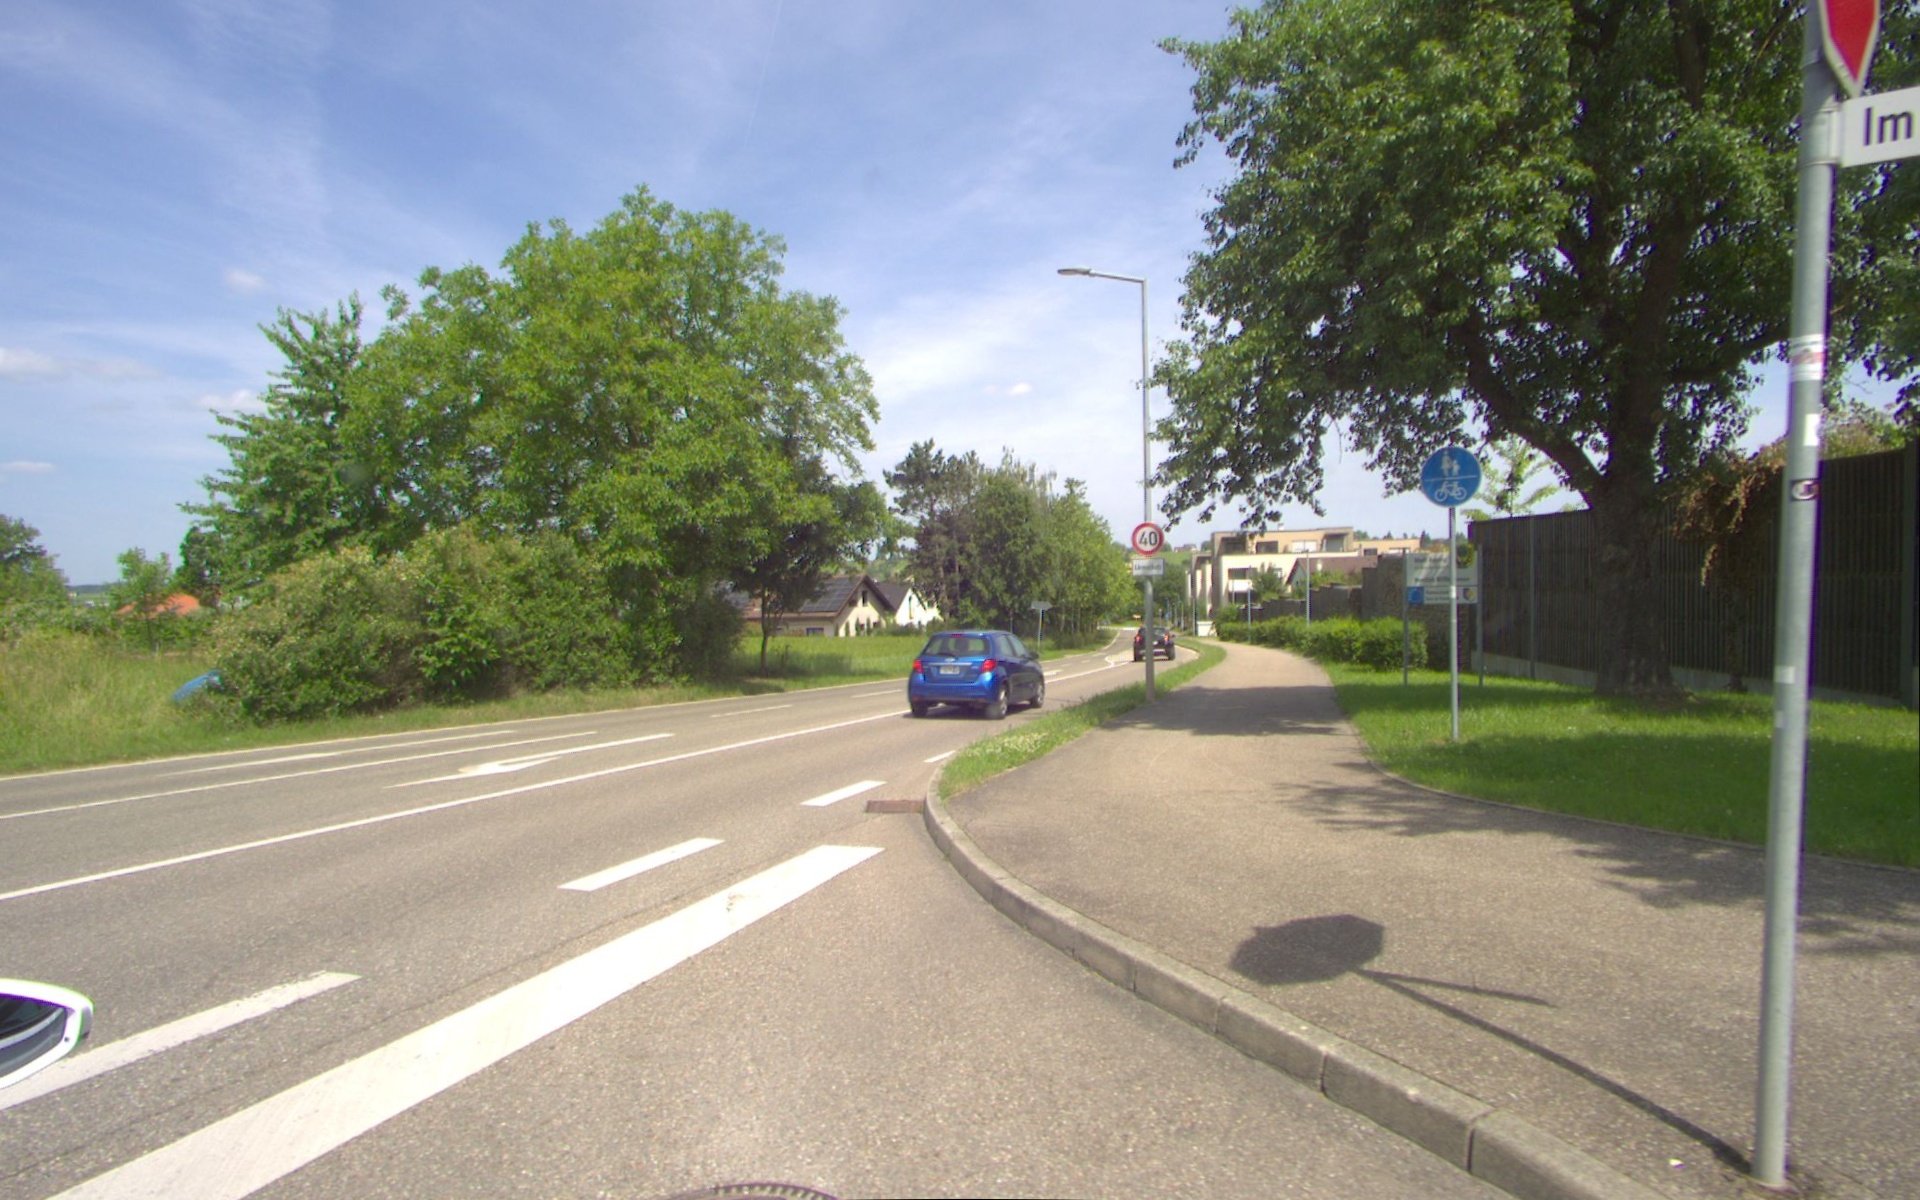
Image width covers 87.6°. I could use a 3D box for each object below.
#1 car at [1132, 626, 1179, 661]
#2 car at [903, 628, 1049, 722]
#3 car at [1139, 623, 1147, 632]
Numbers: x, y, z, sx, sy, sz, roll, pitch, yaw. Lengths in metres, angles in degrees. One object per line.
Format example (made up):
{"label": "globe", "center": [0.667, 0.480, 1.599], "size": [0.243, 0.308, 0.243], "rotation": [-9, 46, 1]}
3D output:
{"label": "car", "center": [9.305, 2.048, 47.541], "size": [1.797, 1.601, 3.996], "rotation": [-1, -2, 17]}
{"label": "car", "center": [0.410, 1.276, 18.342], "size": [1.585, 1.511, 3.843], "rotation": [0, -1, 18]}
{"label": "car", "center": [37.681, 5.675, 206.372], "size": [1.625, 1.623, 3.796], "rotation": [-1, -2, 9]}
